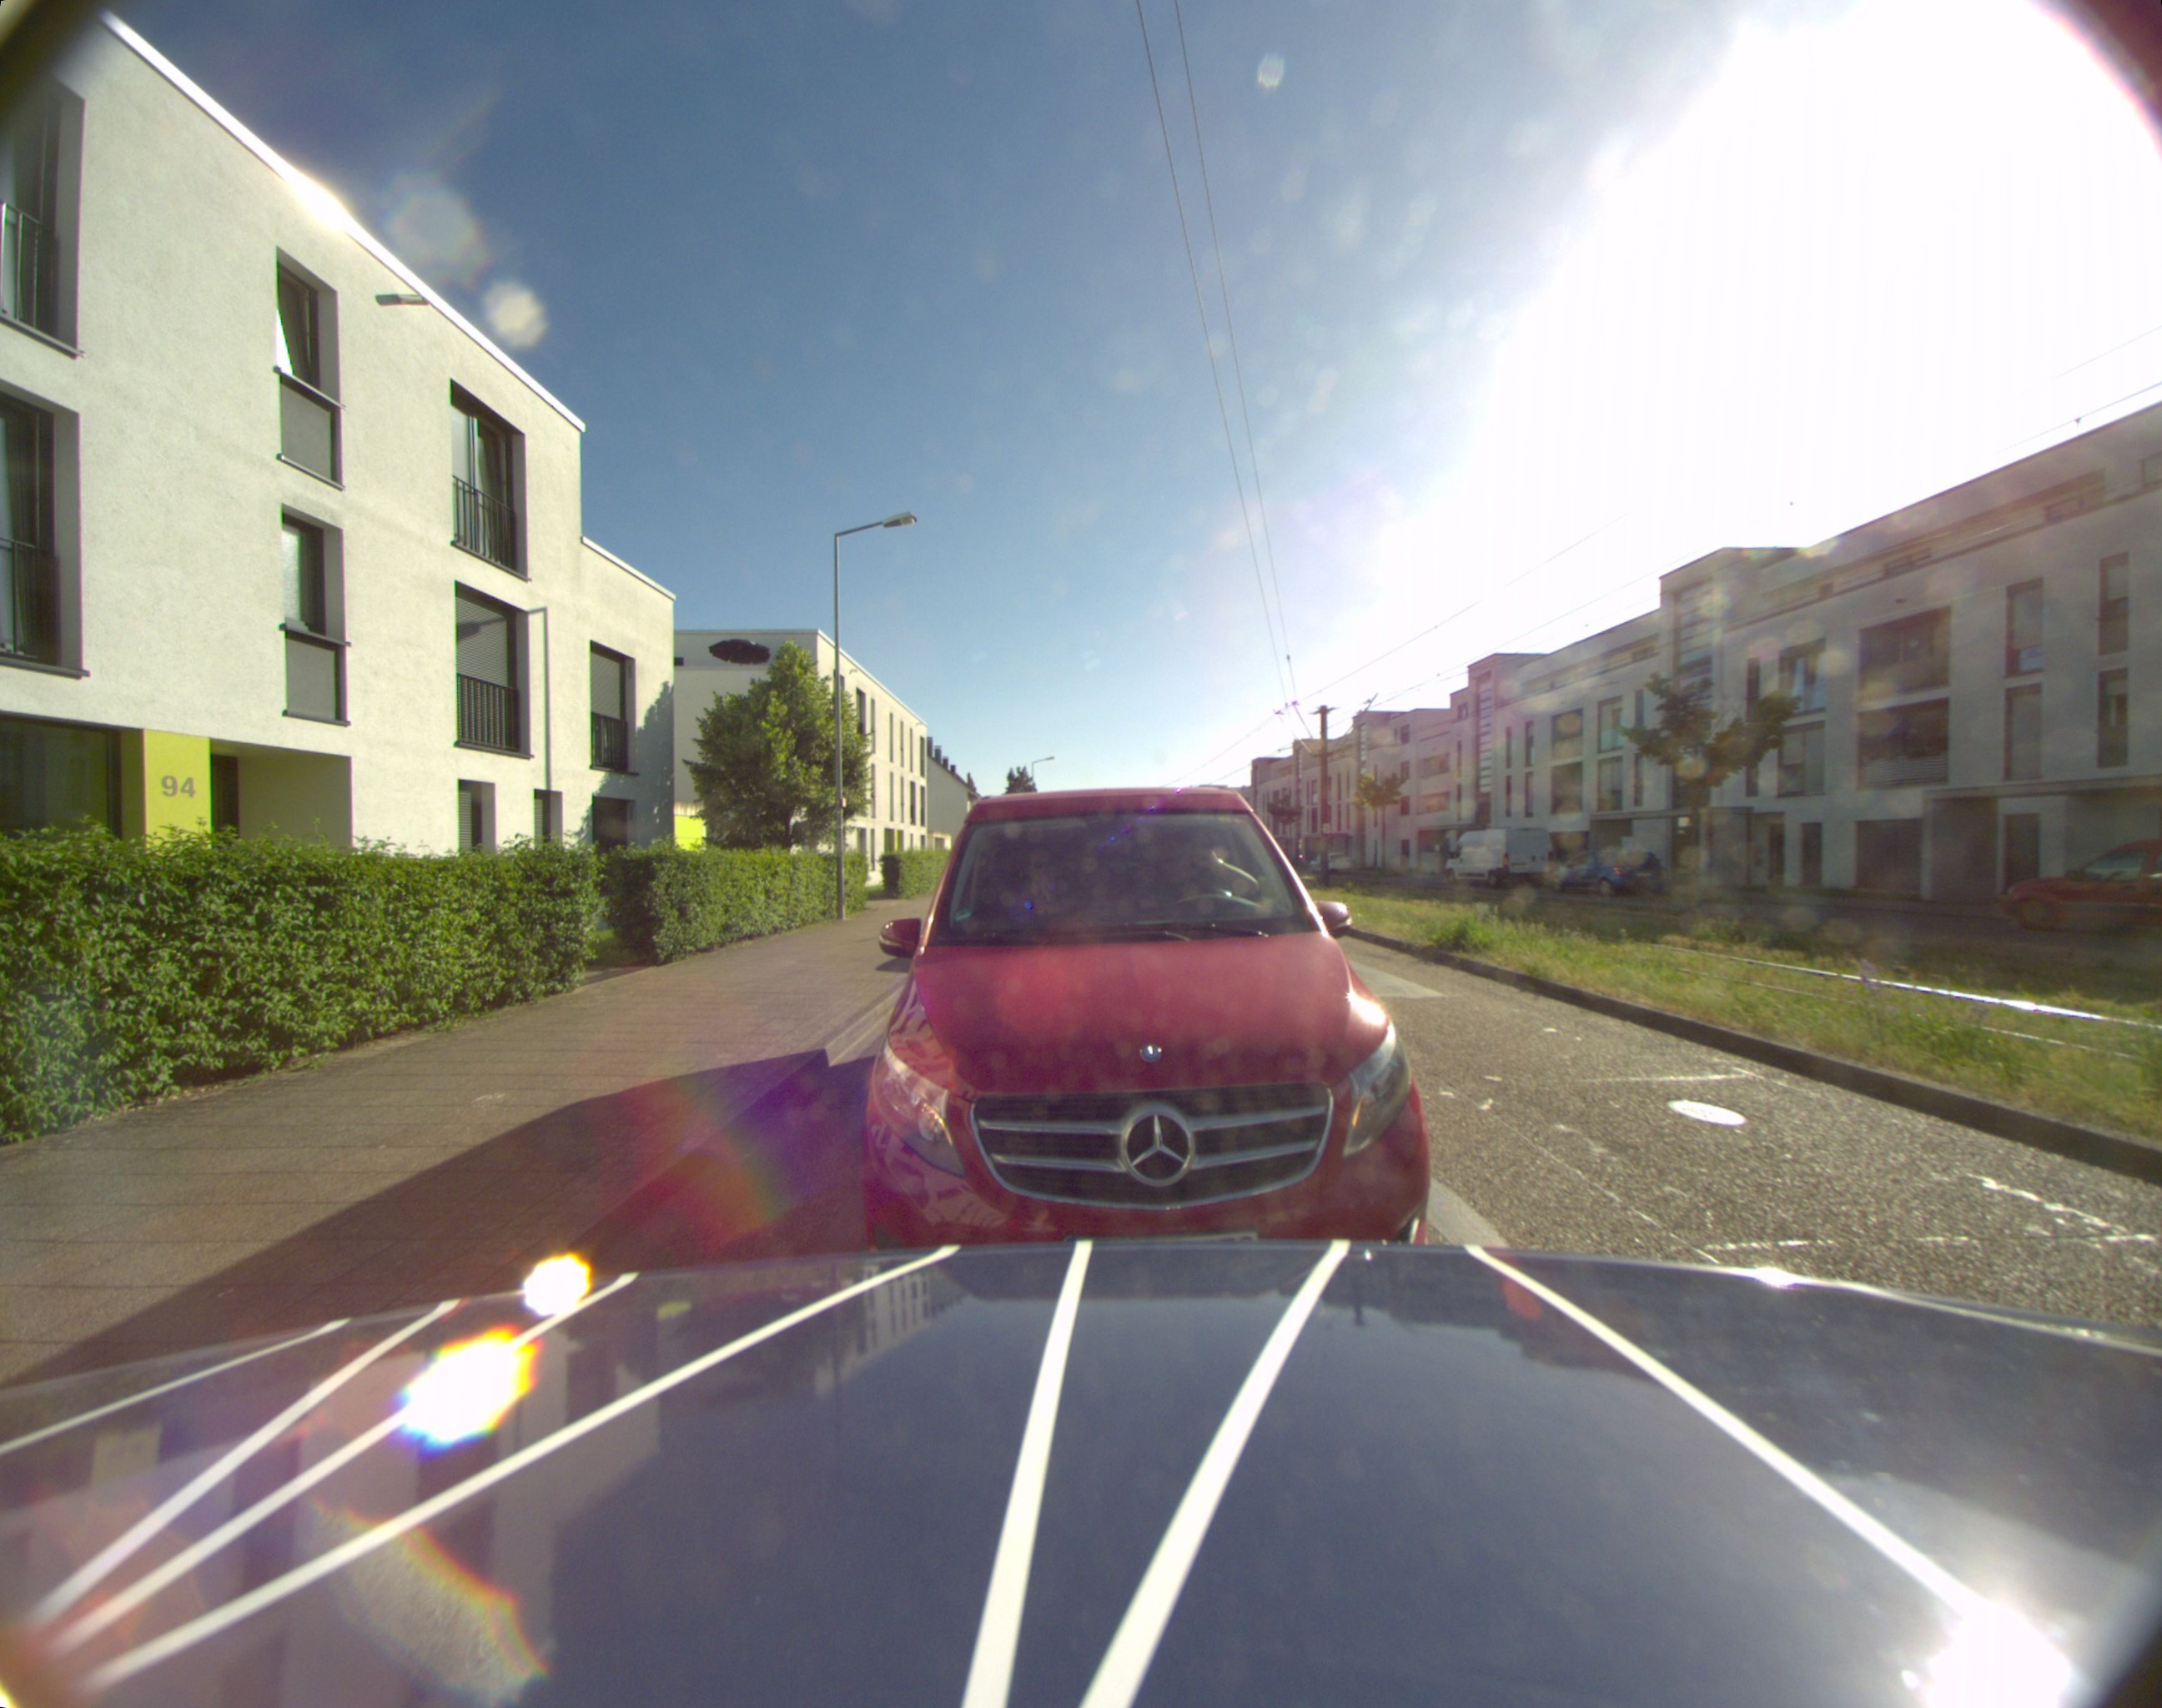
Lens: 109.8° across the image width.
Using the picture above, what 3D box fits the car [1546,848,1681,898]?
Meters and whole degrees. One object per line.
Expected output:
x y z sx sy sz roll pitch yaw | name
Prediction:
18.374 0.589 26.473 1.999 1.536 3.835 -2 1 0 | car

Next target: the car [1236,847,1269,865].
16.715 0.147 74.328 1.923 1.671 4.282 -2 1 -4 | car

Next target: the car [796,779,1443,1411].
0.151 0.709 4.531 1.874 1.843 4.506 -2 1 1 | car

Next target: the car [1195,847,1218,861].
15.470 -0.023 93.879 1.923 1.671 4.282 -2 1 -4 | car

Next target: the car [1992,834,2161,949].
18.615 0.591 12.782 1.998 1.817 3.895 -2 1 3 | car

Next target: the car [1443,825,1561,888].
18.167 0.088 33.144 2.225 2.458 5.195 -2 1 0 | car

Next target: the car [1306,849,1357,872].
17.631 0.428 53.713 1.923 1.497 4.282 -2 1 -4 | car

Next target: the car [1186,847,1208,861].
15.183 -0.045 99.631 1.923 1.671 4.282 -2 1 -4 | car
